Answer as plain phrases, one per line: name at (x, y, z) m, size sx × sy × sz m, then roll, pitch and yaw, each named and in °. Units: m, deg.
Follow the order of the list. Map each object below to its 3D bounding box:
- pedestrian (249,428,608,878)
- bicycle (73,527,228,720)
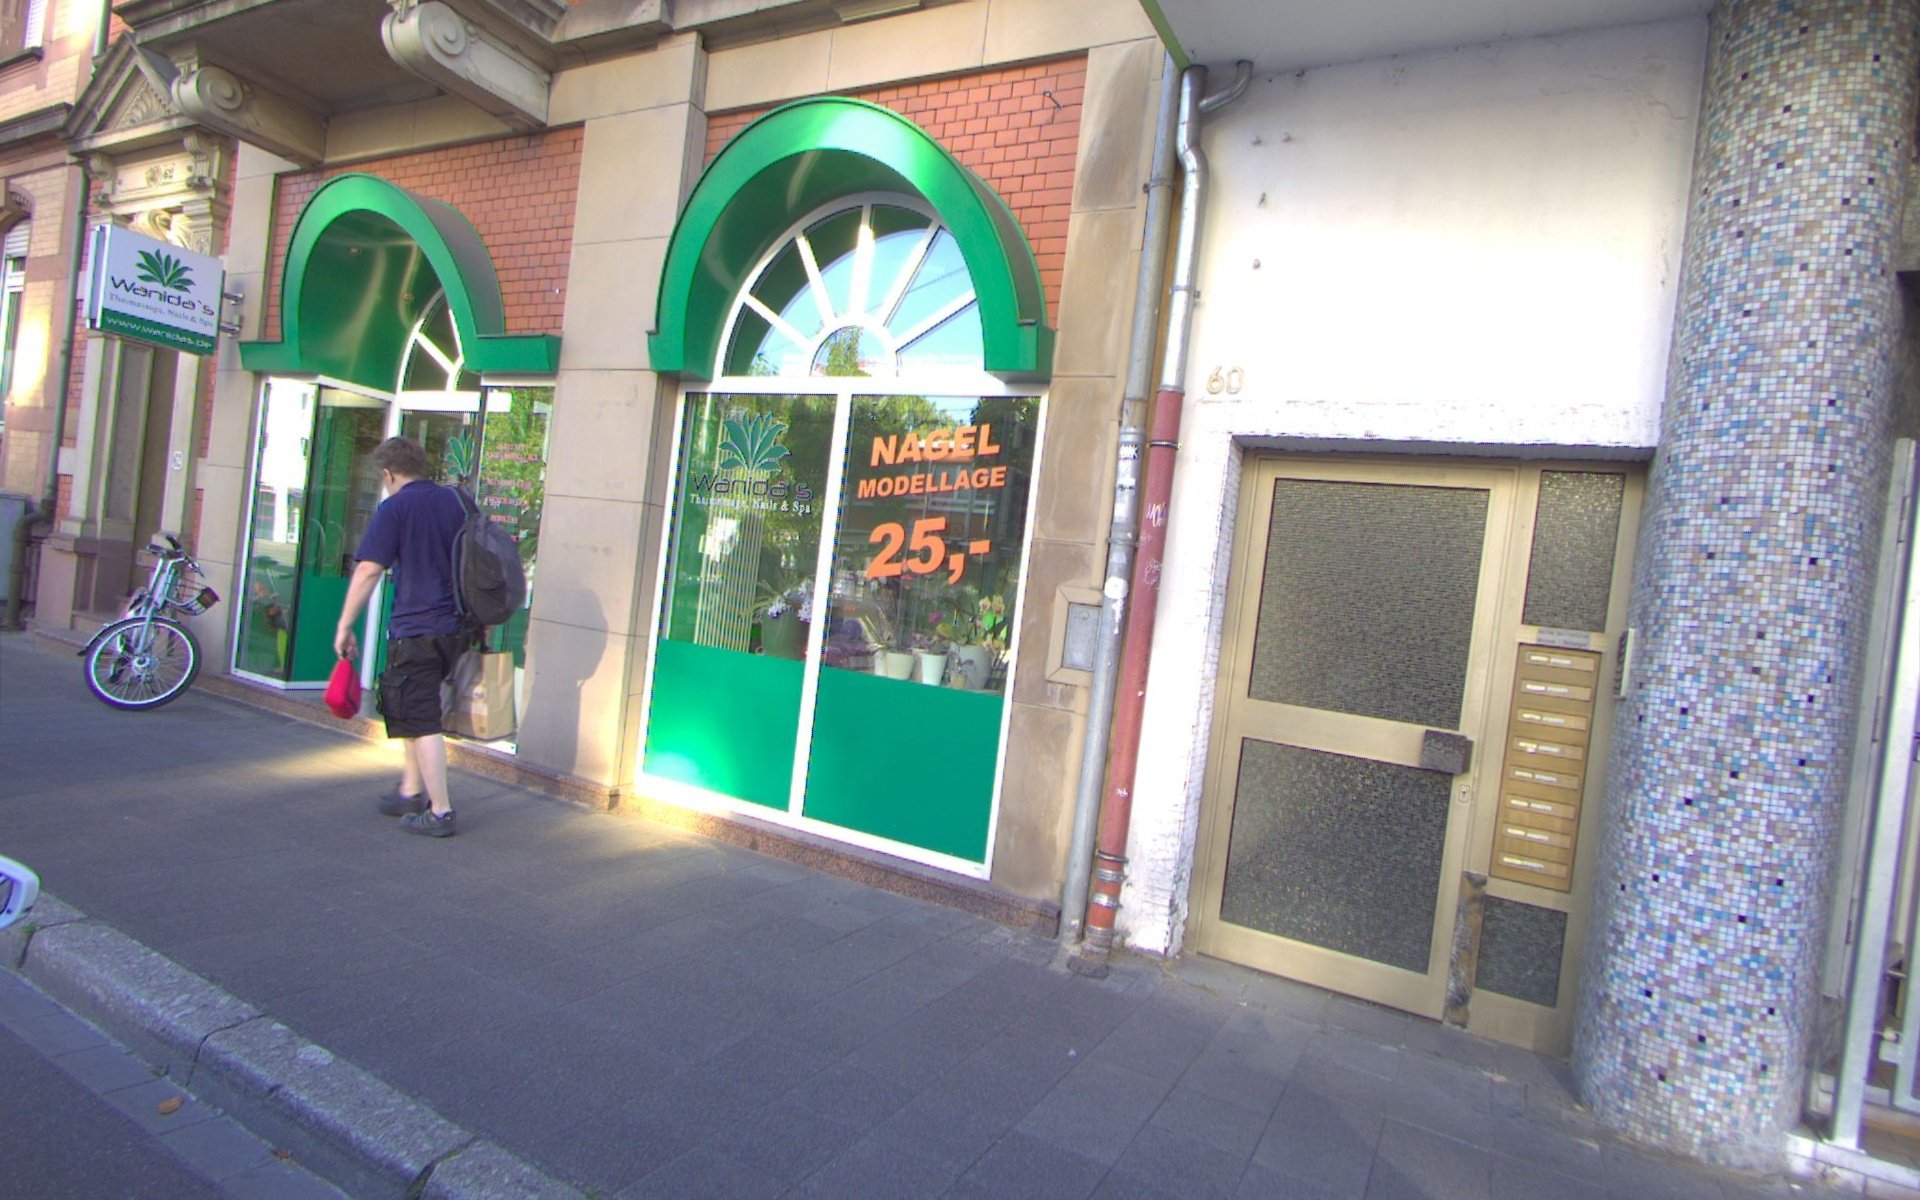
pedestrian at (-2.483, 0.203, 4.748) m, size 1.036 × 1.815 × 0.947 m, roll 7°, pitch 2°, yaw 28°
bicycle at (-5.789, 0.132, 7.156) m, size 0.712 × 1.167 × 1.635 m, roll 4°, pitch 2°, yaw -42°
